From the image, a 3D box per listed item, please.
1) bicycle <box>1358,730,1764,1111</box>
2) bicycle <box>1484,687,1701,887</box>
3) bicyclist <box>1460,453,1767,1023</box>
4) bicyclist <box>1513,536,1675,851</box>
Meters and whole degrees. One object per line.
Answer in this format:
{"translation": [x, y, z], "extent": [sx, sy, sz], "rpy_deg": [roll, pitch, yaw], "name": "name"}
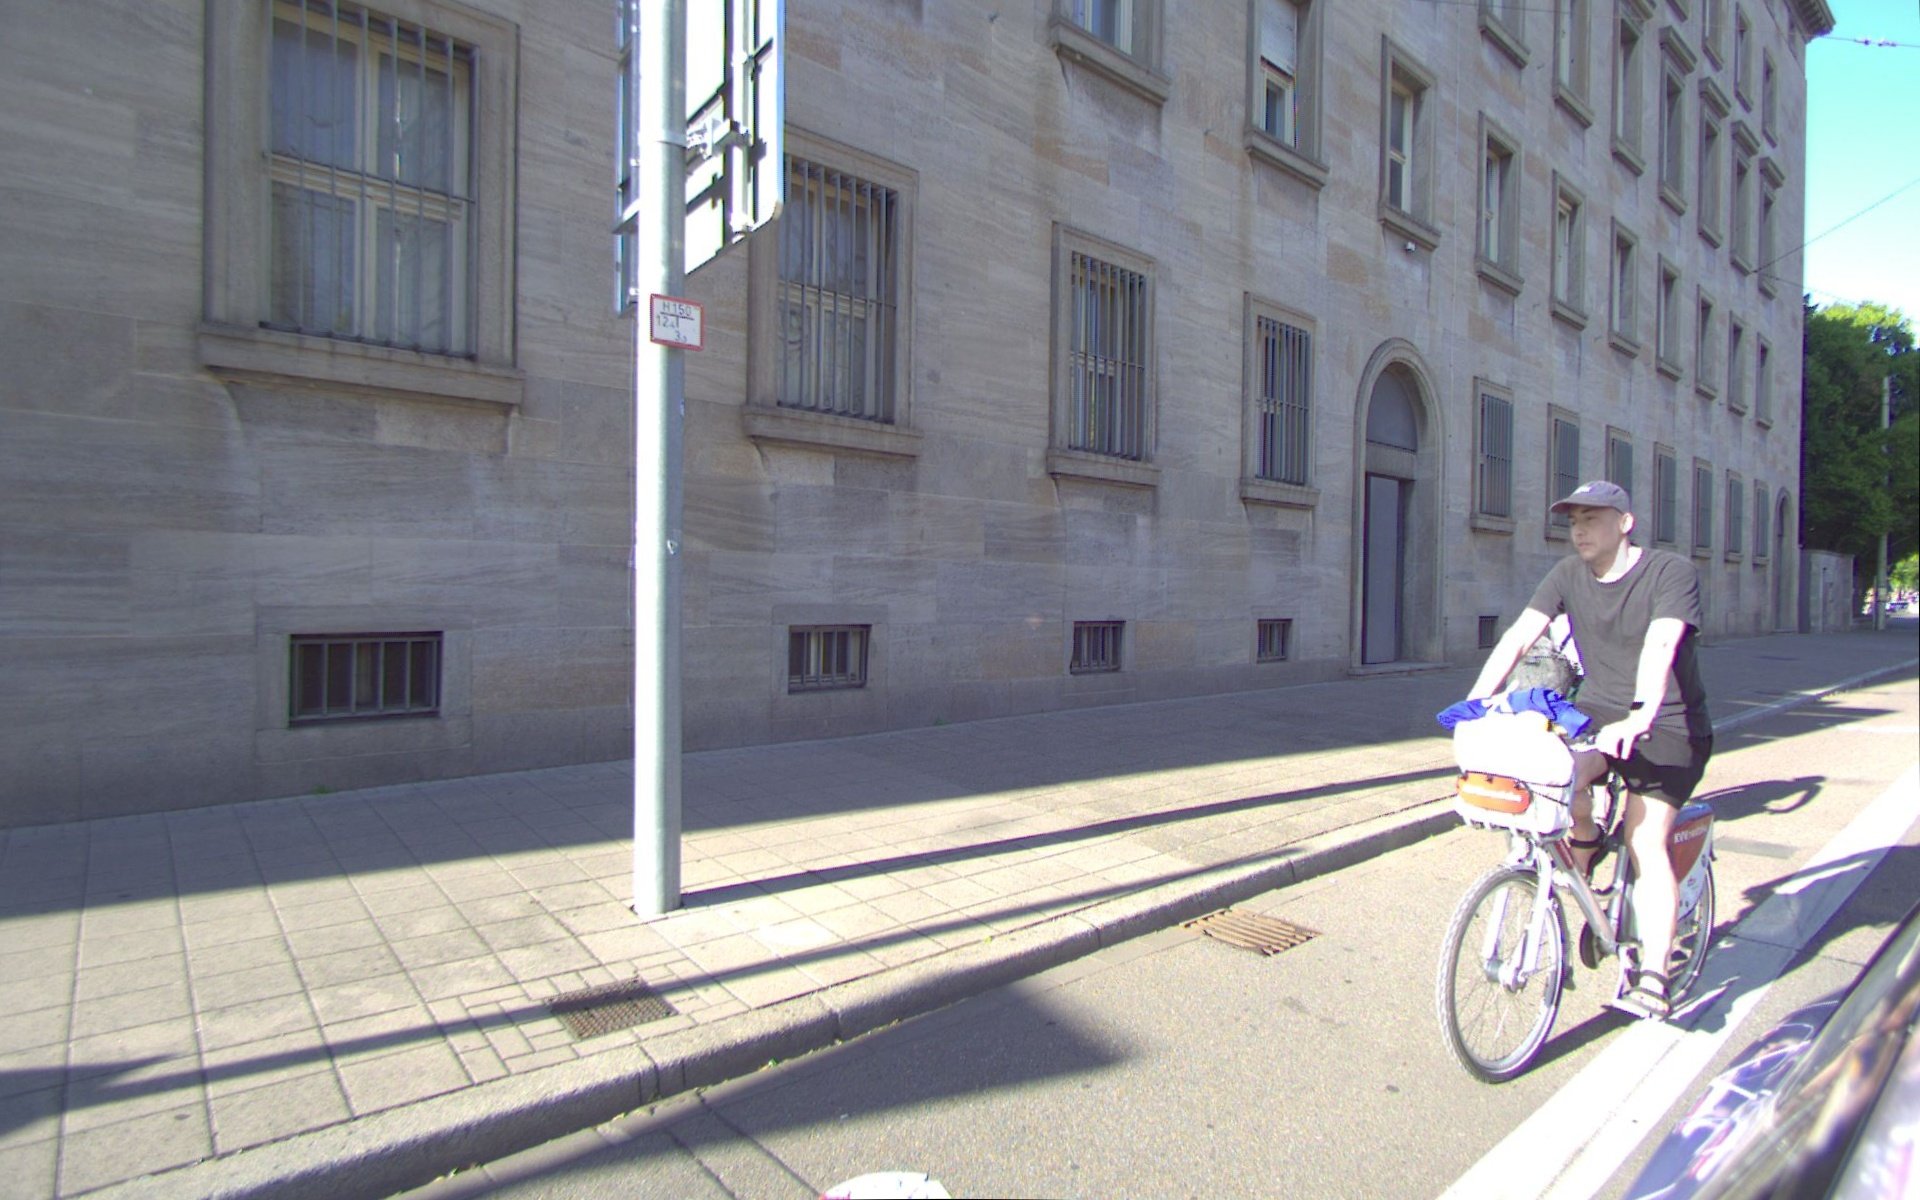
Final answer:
{"translation": [2.192, 1.007, 3.577], "extent": [1.912, 0.916, 0.391], "rpy_deg": [0, 1, -32], "name": "bicycle"}
{"translation": [3.732, 1.017, 5.901], "extent": [1.915, 0.887, 0.428], "rpy_deg": [1, 1, -38], "name": "bicycle"}
{"translation": [2.229, 0.404, 3.474], "extent": [0.644, 1.699, 0.672], "rpy_deg": [0, 1, -36], "name": "bicyclist"}
{"translation": [3.714, 0.496, 5.923], "extent": [0.843, 1.700, 0.523], "rpy_deg": [0, 1, -38], "name": "bicyclist"}
